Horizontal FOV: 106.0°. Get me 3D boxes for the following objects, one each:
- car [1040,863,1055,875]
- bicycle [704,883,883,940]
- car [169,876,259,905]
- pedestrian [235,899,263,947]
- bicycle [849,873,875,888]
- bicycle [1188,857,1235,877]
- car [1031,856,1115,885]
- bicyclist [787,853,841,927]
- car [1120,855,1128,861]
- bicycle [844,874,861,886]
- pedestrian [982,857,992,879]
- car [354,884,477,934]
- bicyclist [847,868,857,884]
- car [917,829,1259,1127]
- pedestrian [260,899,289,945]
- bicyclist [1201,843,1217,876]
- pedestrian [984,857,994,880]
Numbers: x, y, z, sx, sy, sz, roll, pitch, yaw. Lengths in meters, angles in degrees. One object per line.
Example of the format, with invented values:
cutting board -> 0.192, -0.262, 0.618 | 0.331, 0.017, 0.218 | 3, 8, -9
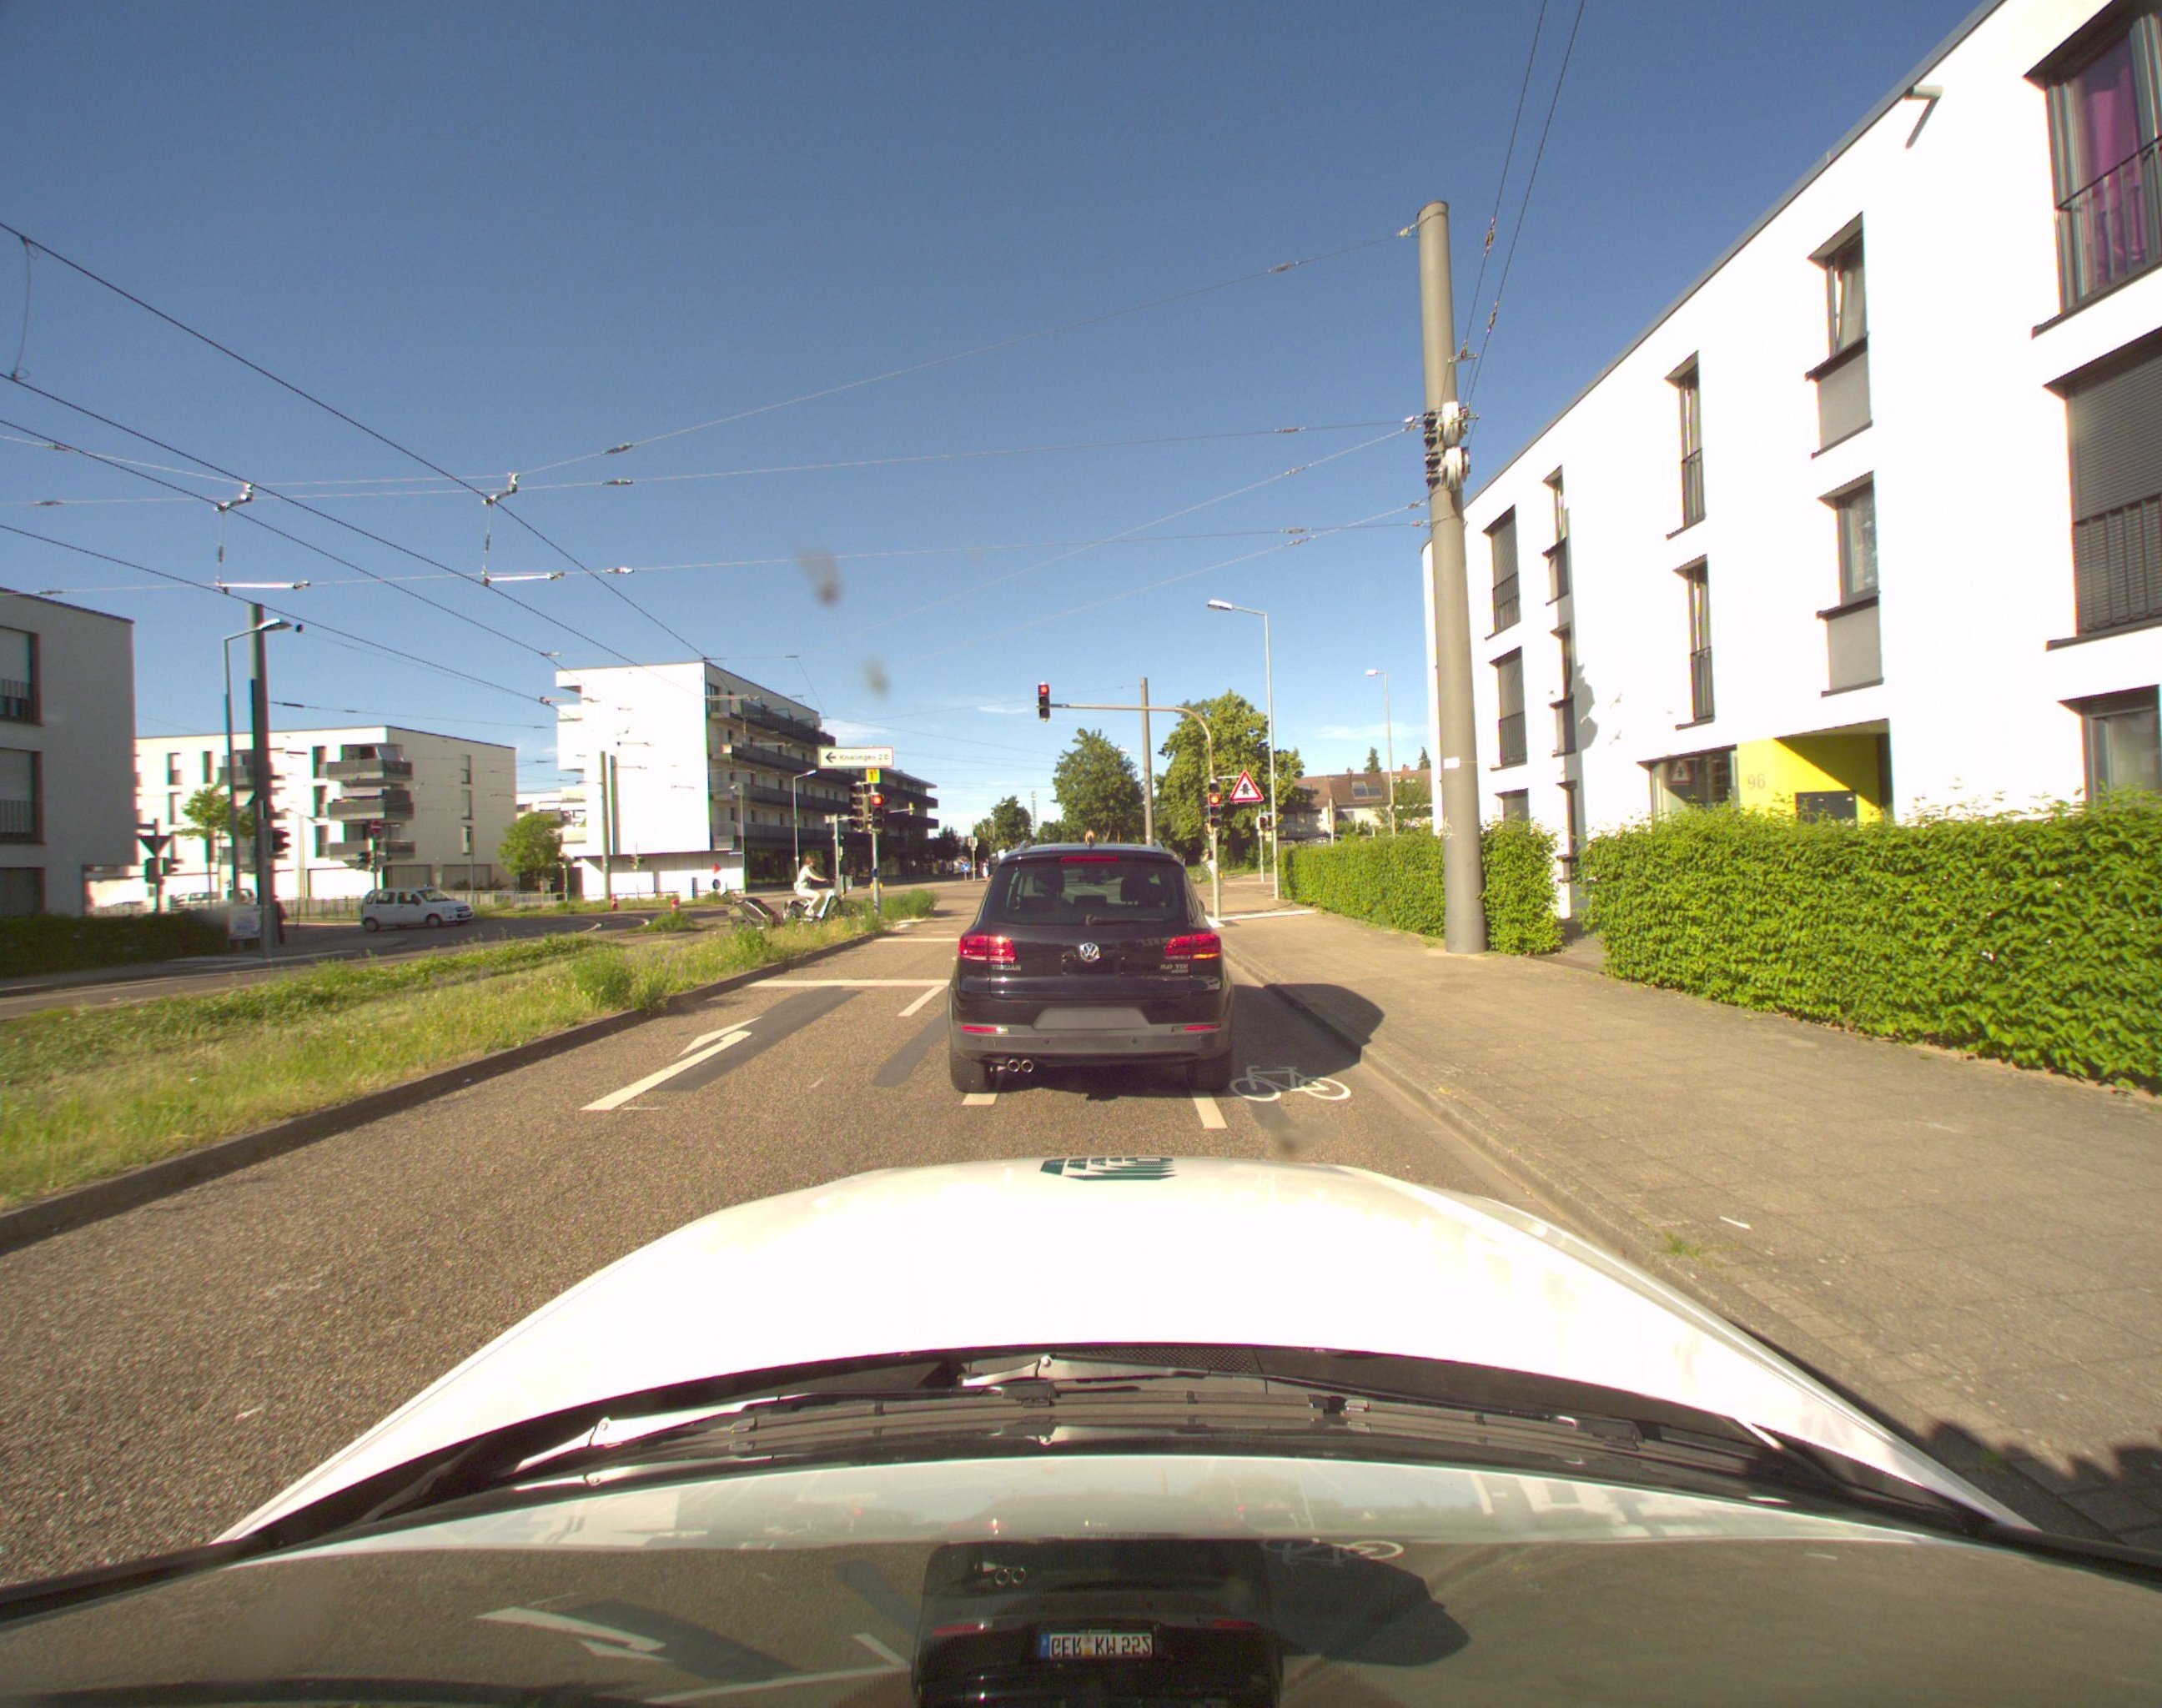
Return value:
car -> -4.688, 2.103, 115.708 | 1.648, 1.640, 4.004 | -1, 0, 4
bicycle -> -6.483, 1.283, 18.510 | 3.670, 1.174, 0.999 | 1, 0, 0
car -> -58.711, 2.444, 55.199 | 3.974, 1.838, 2.000 | -1, 0, 0
pedestrian -> -27.024, 2.230, 26.454 | 0.562, 1.464, 0.734 | -1, 0, -40
bicycle -> -17.049, 2.078, 63.320 | 0.958, 1.085, 1.845 | -1, 0, 25
bicycle -> 7.248, 0.741, 45.213 | 2.492, 1.059, 0.777 | -1, 0, 4
car -> -0.399, 0.913, 45.600 | 4.474, 1.504, 2.003 | -1, 0, 6
bicyclist -> -6.057, 0.792, 18.535 | 0.907, 1.630, 0.975 | -1, 0, -2
car -> 10.410, 0.864, 196.268 | 1.745, 1.387, 4.000 | -1, 0, 0
bicycle -> -18.058, 2.055, 64.430 | 0.493, 0.848, 2.082 | -1, 0, 6
pedestrian -> -6.893, 1.042, 59.742 | 0.600, 1.565, 0.530 | -1, 0, 6
car -> -26.305, 2.143, 32.246 | 3.478, 1.652, 1.593 | -4, 0, 1
bicyclist -> -18.091, 1.759, 64.369 | 0.472, 1.223, 0.713 | -1, 0, 5
car -> 0.064, 0.699, 6.587 | 1.899, 1.643, 4.000 | -1, 0, 0
pedestrian -> -26.547, 2.234, 26.812 | 0.561, 1.464, 0.605 | -1, 0, -36
bicyclist -> 7.126, 0.308, 45.249 | 0.799, 1.807, 0.685 | -1, 0, 5
pedestrian -> -6.812, 1.062, 60.315 | 0.600, 1.640, 0.530 | -1, 0, 6
